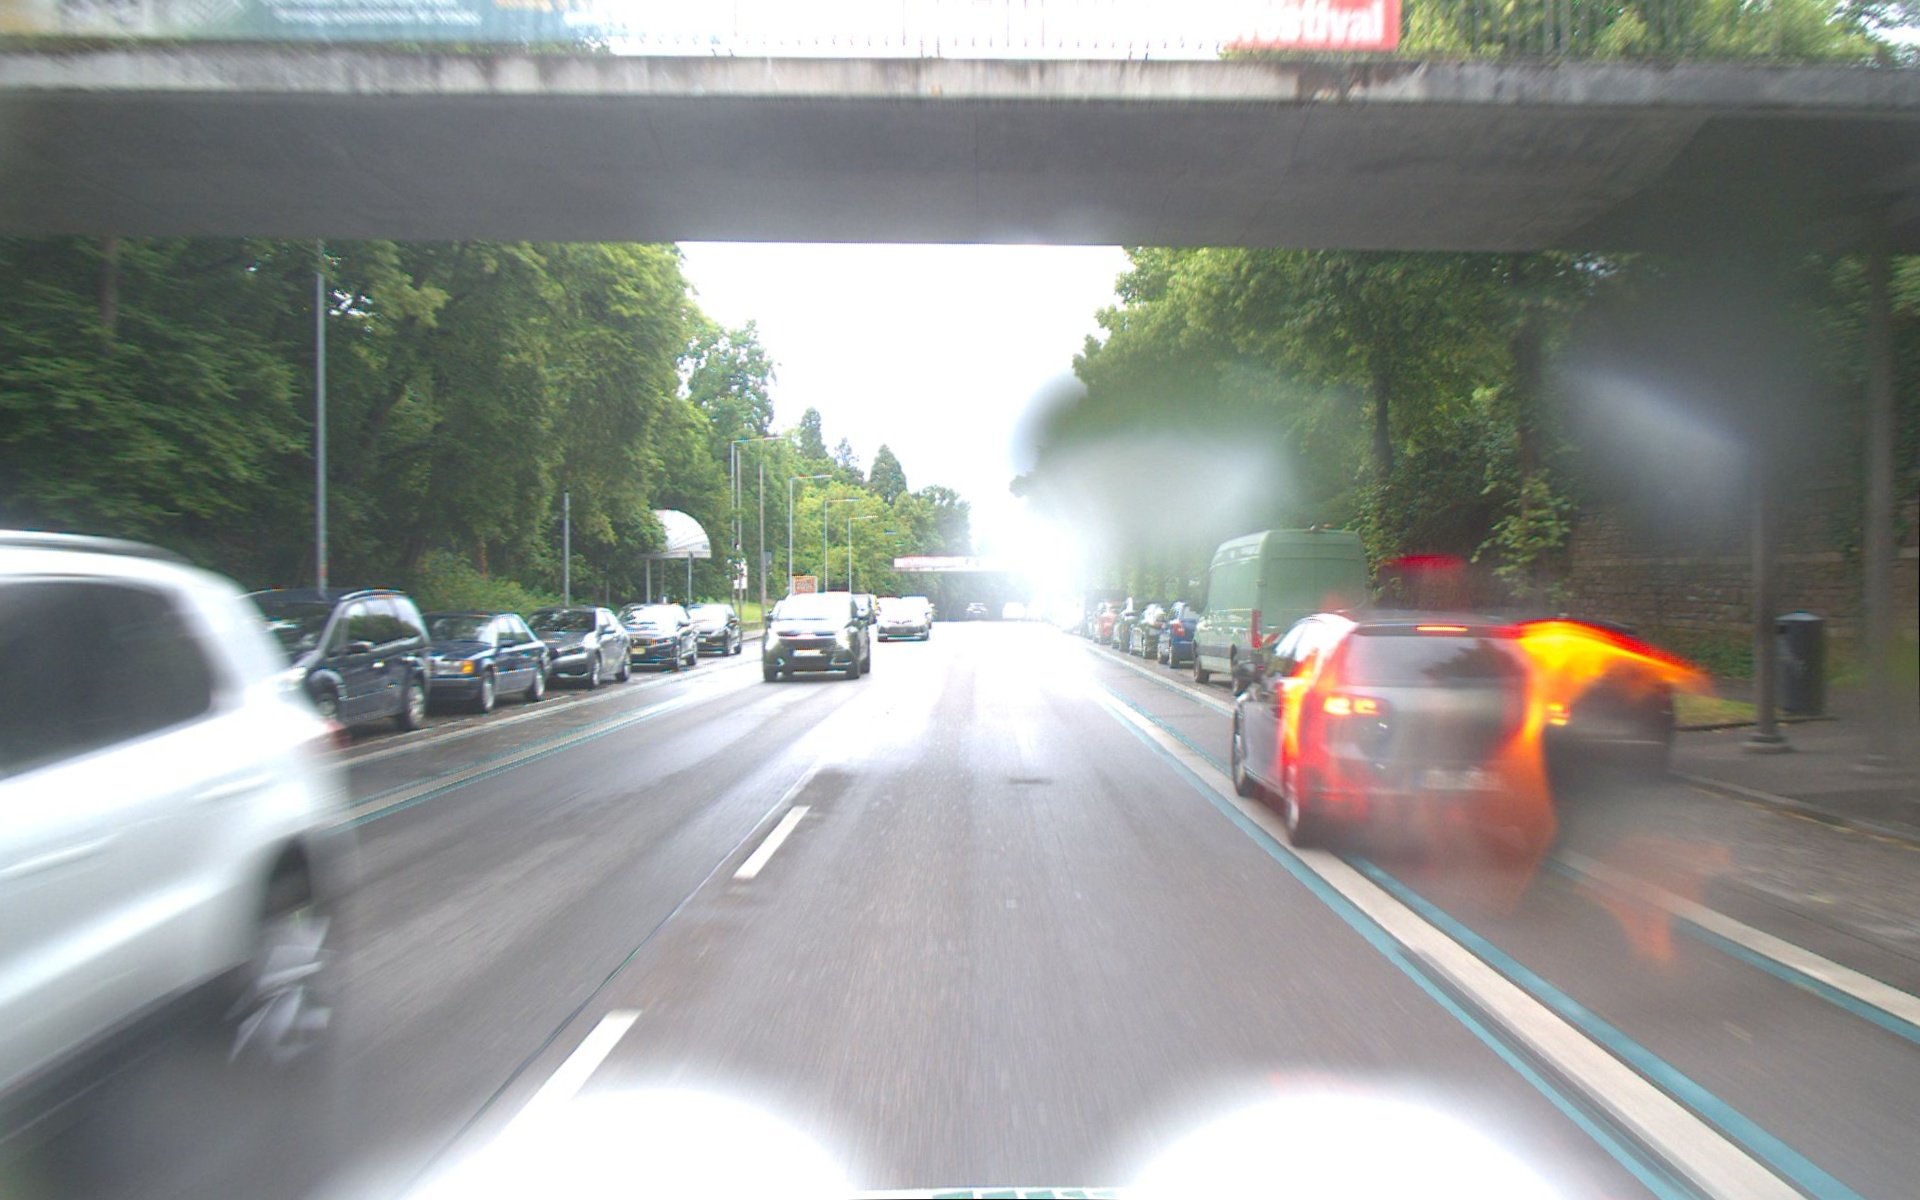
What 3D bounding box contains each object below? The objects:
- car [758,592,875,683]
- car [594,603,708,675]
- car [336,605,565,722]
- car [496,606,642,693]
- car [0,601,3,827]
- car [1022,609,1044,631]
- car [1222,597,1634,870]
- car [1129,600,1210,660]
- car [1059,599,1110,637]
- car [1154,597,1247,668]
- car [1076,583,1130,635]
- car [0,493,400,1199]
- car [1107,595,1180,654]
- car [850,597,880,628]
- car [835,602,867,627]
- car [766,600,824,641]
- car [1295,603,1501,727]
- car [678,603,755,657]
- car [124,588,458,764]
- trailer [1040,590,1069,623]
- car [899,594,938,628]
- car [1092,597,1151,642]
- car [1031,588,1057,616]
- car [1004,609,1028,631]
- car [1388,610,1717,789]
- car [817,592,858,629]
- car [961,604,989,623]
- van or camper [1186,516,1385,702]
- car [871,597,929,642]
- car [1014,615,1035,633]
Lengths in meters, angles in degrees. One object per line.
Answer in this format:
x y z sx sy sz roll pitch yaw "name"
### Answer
-2.768 0.682 32.747 1.925 1.656 4.320 -1 0 0 "car"
-7.112 0.854 38.498 1.917 1.488 4.754 0 1 -2 "car"
-7.517 0.877 24.949 1.943 1.498 4.897 1 1 0 "car"
-7.292 0.879 31.257 1.747 1.448 4.295 0 1 0 "car"
-7.522 0.823 9.446 1.653 1.573 4.232 0 1 0 "car"
5.924 1.605 133.969 1.695 1.713 4.045 -1 0 2 "car"
2.989 0.755 11.475 1.780 1.534 4.140 0 0 1 "car"
5.560 0.756 44.268 1.651 1.481 4.146 1 0 1 "car"
5.439 0.778 72.982 1.753 1.570 4.888 1 0 -1 "car"
5.578 0.717 38.736 1.651 1.540 3.835 1 0 1 "car"
5.841 0.368 68.096 1.886 2.057 4.664 0 0 1 "car"
-2.853 0.662 3.569 1.796 1.695 4.180 -2 0 0 "car"
5.448 0.695 49.474 1.720 1.617 4.499 1 0 1 "car"
-6.466 0.830 113.440 1.844 1.979 4.825 0 1 -1 "car"
-6.704 0.889 101.715 1.696 1.414 4.370 0 1 0 "car"
-6.540 0.794 65.976 2.035 1.508 4.671 0 1 -2 "car"
5.624 0.774 21.716 1.651 1.441 4.100 1 0 1 "car"
-6.997 0.832 47.763 1.636 1.483 3.993 0 0 0 "car"
-7.592 0.761 19.378 1.950 1.772 4.838 0 1 0 "car"
6.338 0.436 111.249 1.845 2.204 3.808 -1 0 1 "trailer"
-2.116 0.549 85.024 1.758 1.680 4.129 -1 0 1 "car"
5.544 0.650 57.271 1.651 1.478 4.166 1 0 1 "car"
6.494 0.146 127.971 1.850 2.164 4.046 1 0 2 "car"
4.317 1.540 128.481 1.695 1.611 4.036 -1 0 0 "car"
5.465 0.838 15.829 1.651 1.441 4.197 0 0 0 "car"
-6.725 0.570 91.321 1.874 1.965 4.928 0 1 0 "car"
1.200 1.064 134.135 2.097 1.518 4.497 1 0 -1 "car"
5.408 0.126 28.557 2.000 2.777 6.900 1 0 0 "van or camper"
-2.160 0.686 60.805 1.881 1.588 4.621 0 0 1 "car"
5.448 2.022 140.068 1.695 1.488 4.045 -1 0 2 "car"
